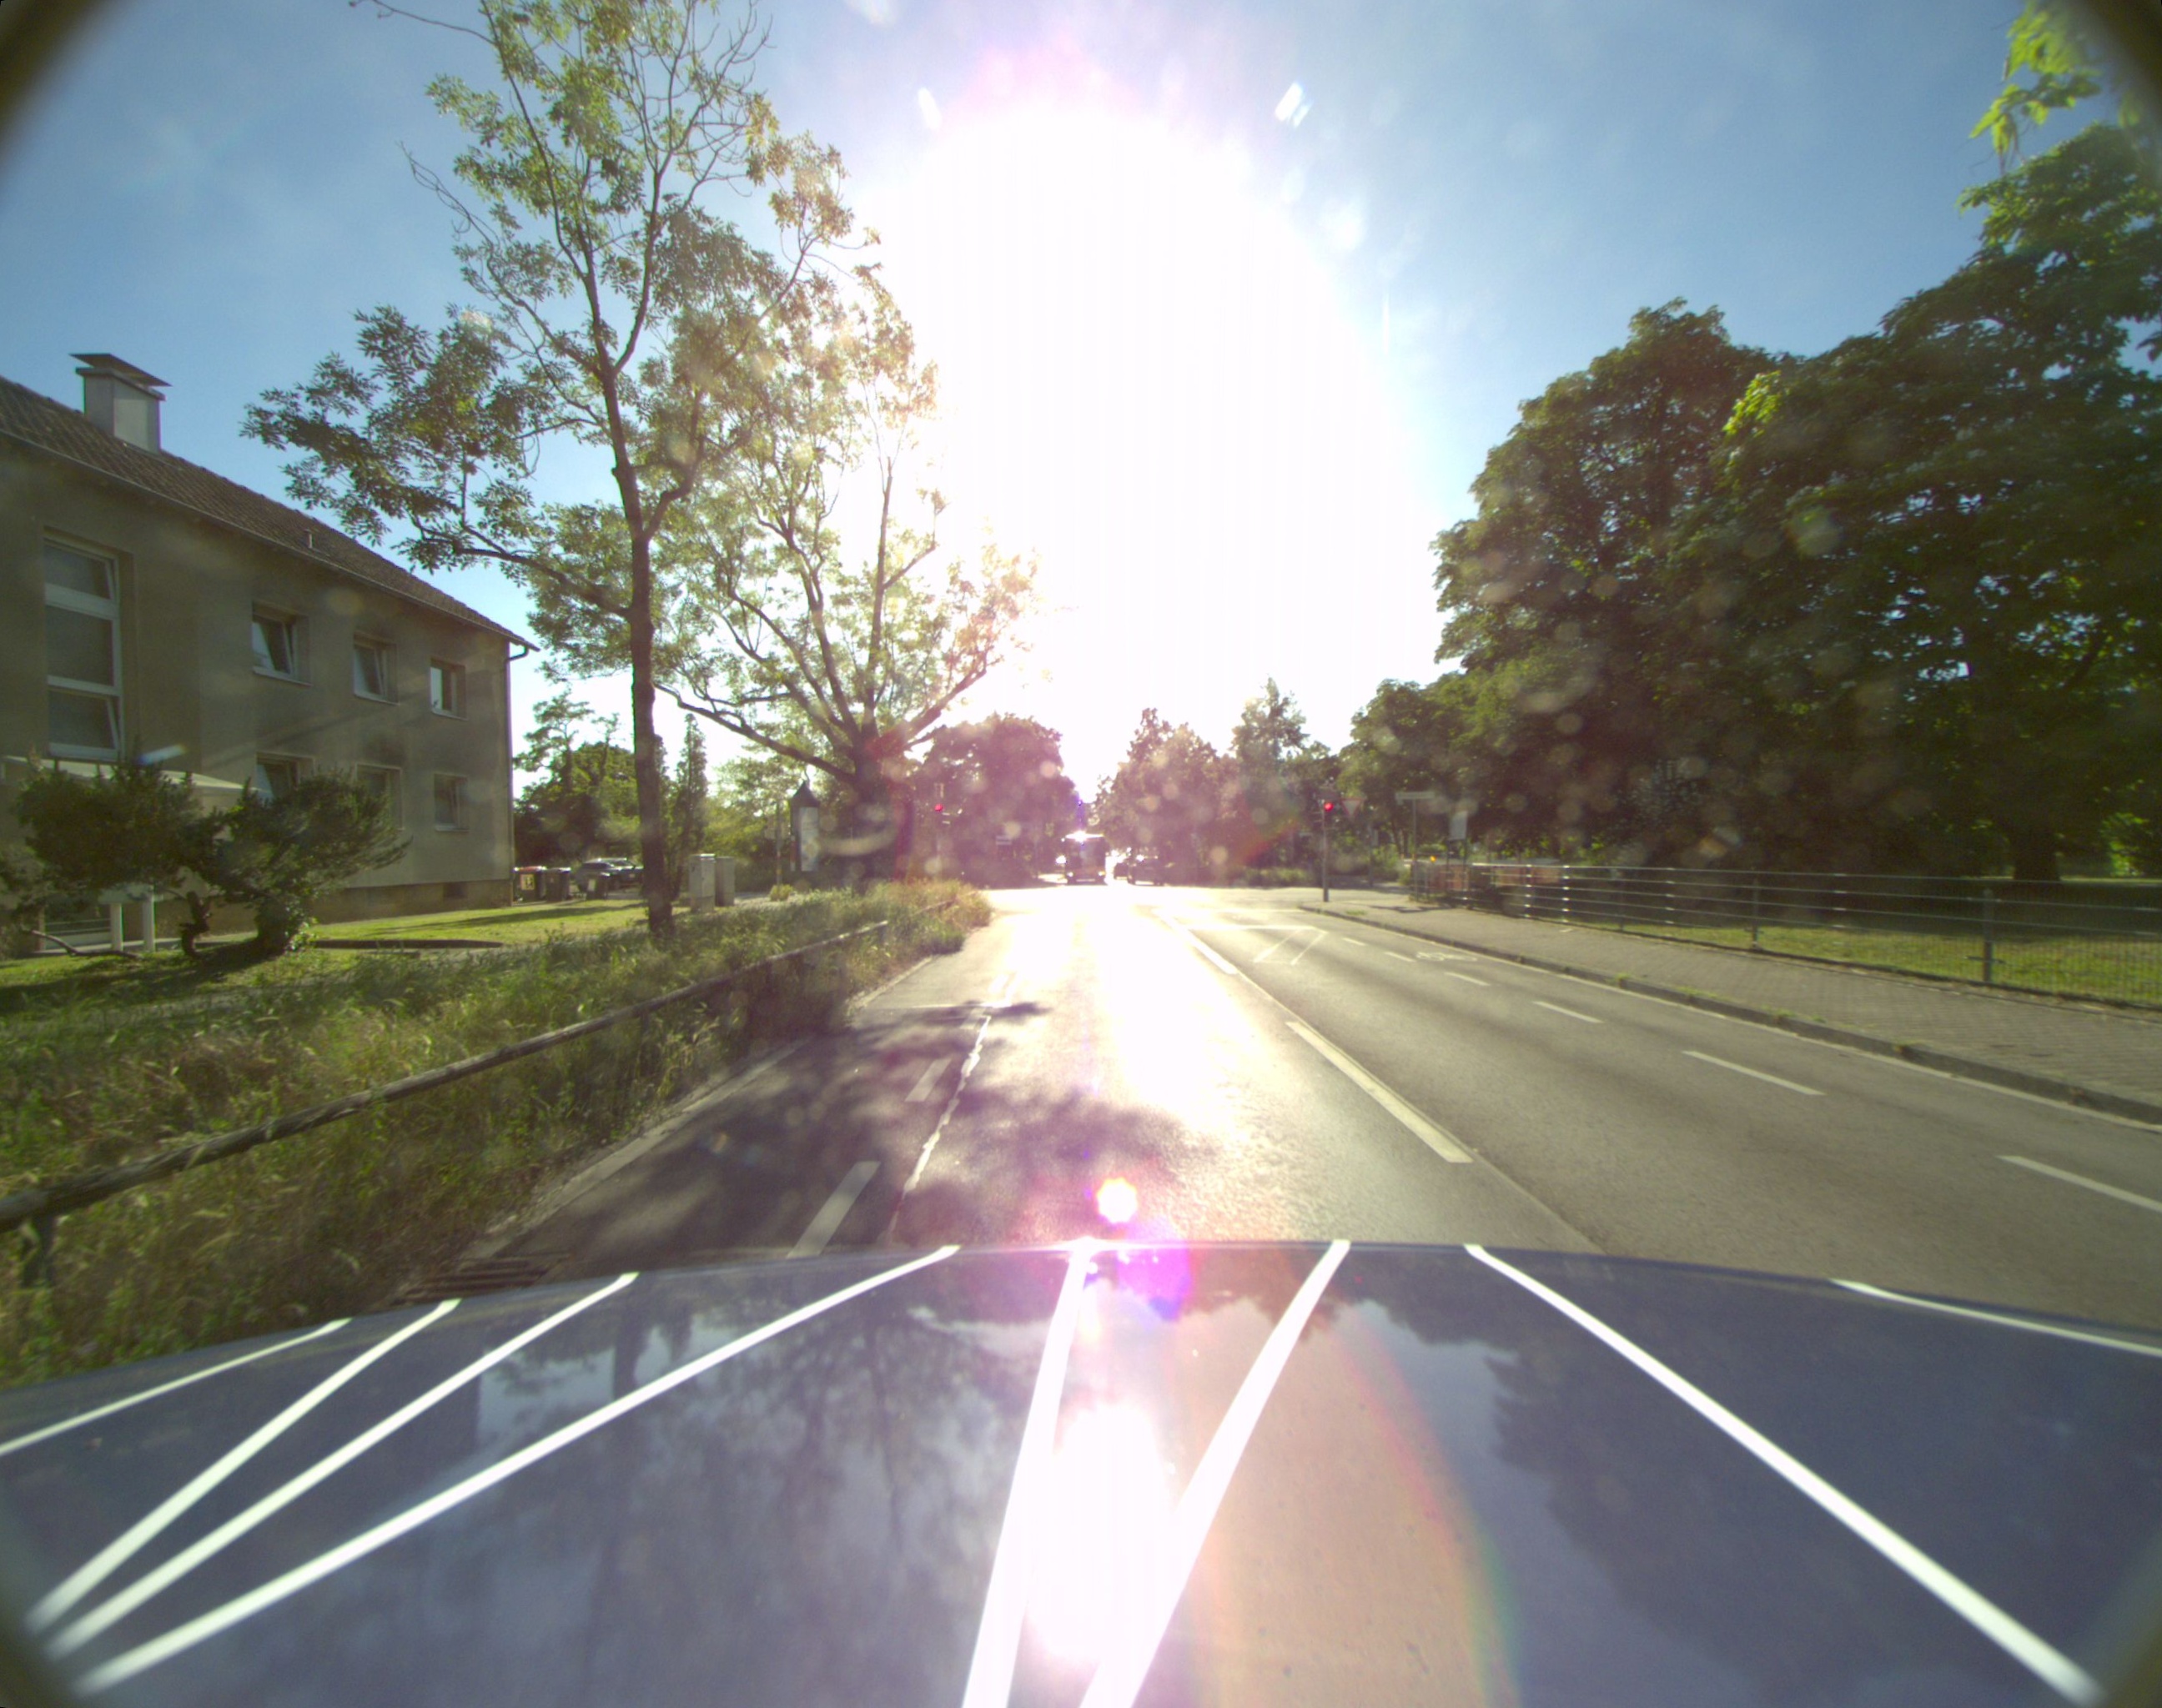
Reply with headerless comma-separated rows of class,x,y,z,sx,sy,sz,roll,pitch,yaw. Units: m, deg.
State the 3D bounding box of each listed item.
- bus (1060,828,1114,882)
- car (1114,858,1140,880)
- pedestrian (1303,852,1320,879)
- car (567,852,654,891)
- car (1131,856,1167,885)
bus,0.518,0.117,51.565,3.128,3.080,12.481,-2,0,1
car,3.664,1.197,60.674,1.810,1.447,3.848,1,4,0
pedestrian,14.146,0.694,46.614,0.800,1.624,0.647,-2,0,1
car,-24.474,0.855,39.732,1.868,1.642,4.444,-2,3,-3
car,3.885,0.932,44.303,1.819,1.608,4.392,0,0,2
